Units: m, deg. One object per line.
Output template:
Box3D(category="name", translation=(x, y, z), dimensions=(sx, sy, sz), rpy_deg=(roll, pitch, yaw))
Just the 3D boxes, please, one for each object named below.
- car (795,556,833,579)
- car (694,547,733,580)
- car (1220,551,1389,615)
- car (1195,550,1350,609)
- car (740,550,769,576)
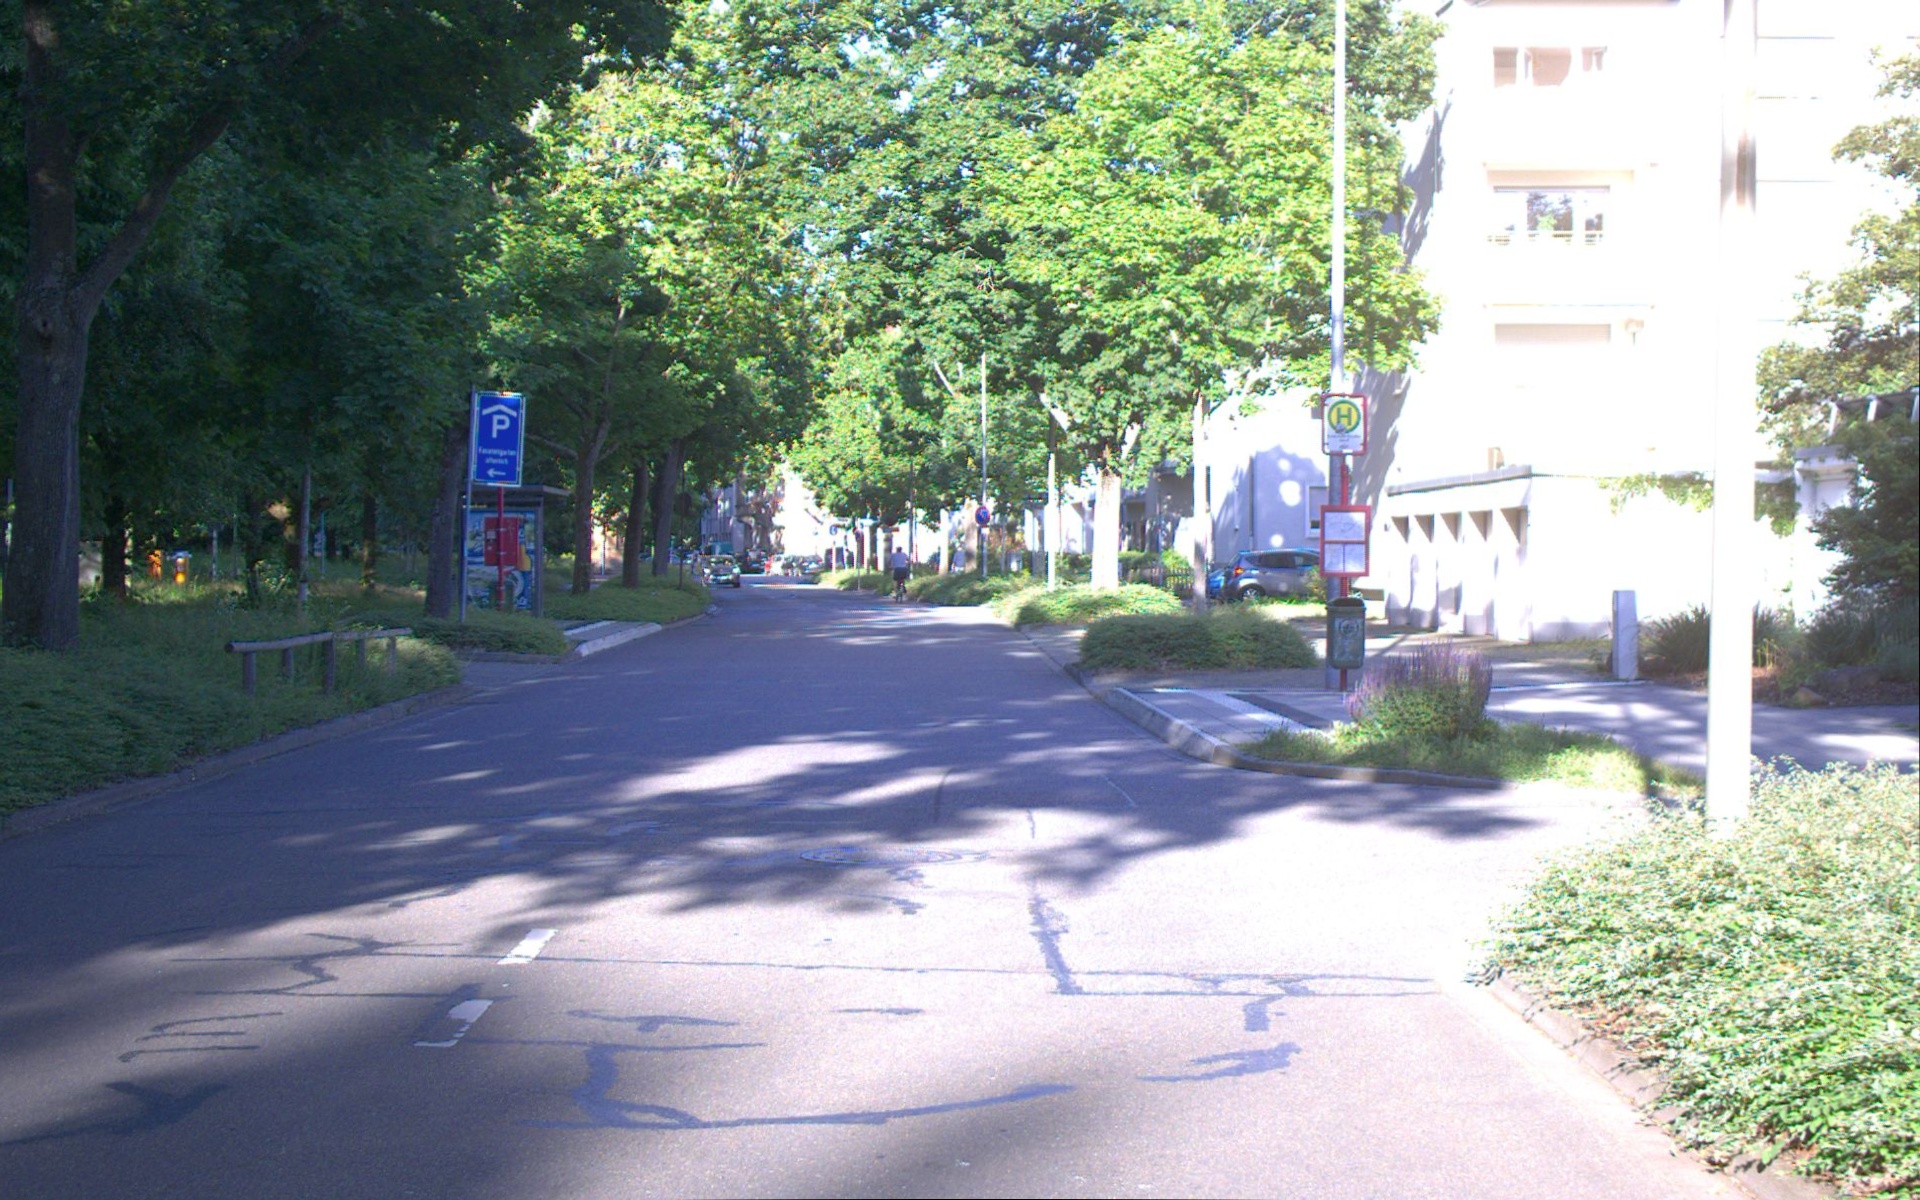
Box3D(category="car", translation=(-9.719, -2.154, 228.580), dimensions=(1.811, 1.496, 4.001), rpy_deg=(0, 1, -12))
Box3D(category="car", translation=(-12.101, -1.798, 168.559), dimensions=(1.844, 1.573, 4.336), rpy_deg=(-1, 1, -4))
Box3D(category="car", translation=(8.761, -0.417, 87.640), dimensions=(4.040, 1.509, 1.727), rpy_deg=(1, -1, -4))
Box3D(category="car", translation=(8.654, -0.565, 95.411), dimensions=(3.986, 1.576, 1.810), rpy_deg=(0, 2, -5))
Box3D(category="car", translation=(-15.359, -2.770, 256.875), dimensions=(1.811, 1.919, 4.001), rpy_deg=(2, 1, -9))
